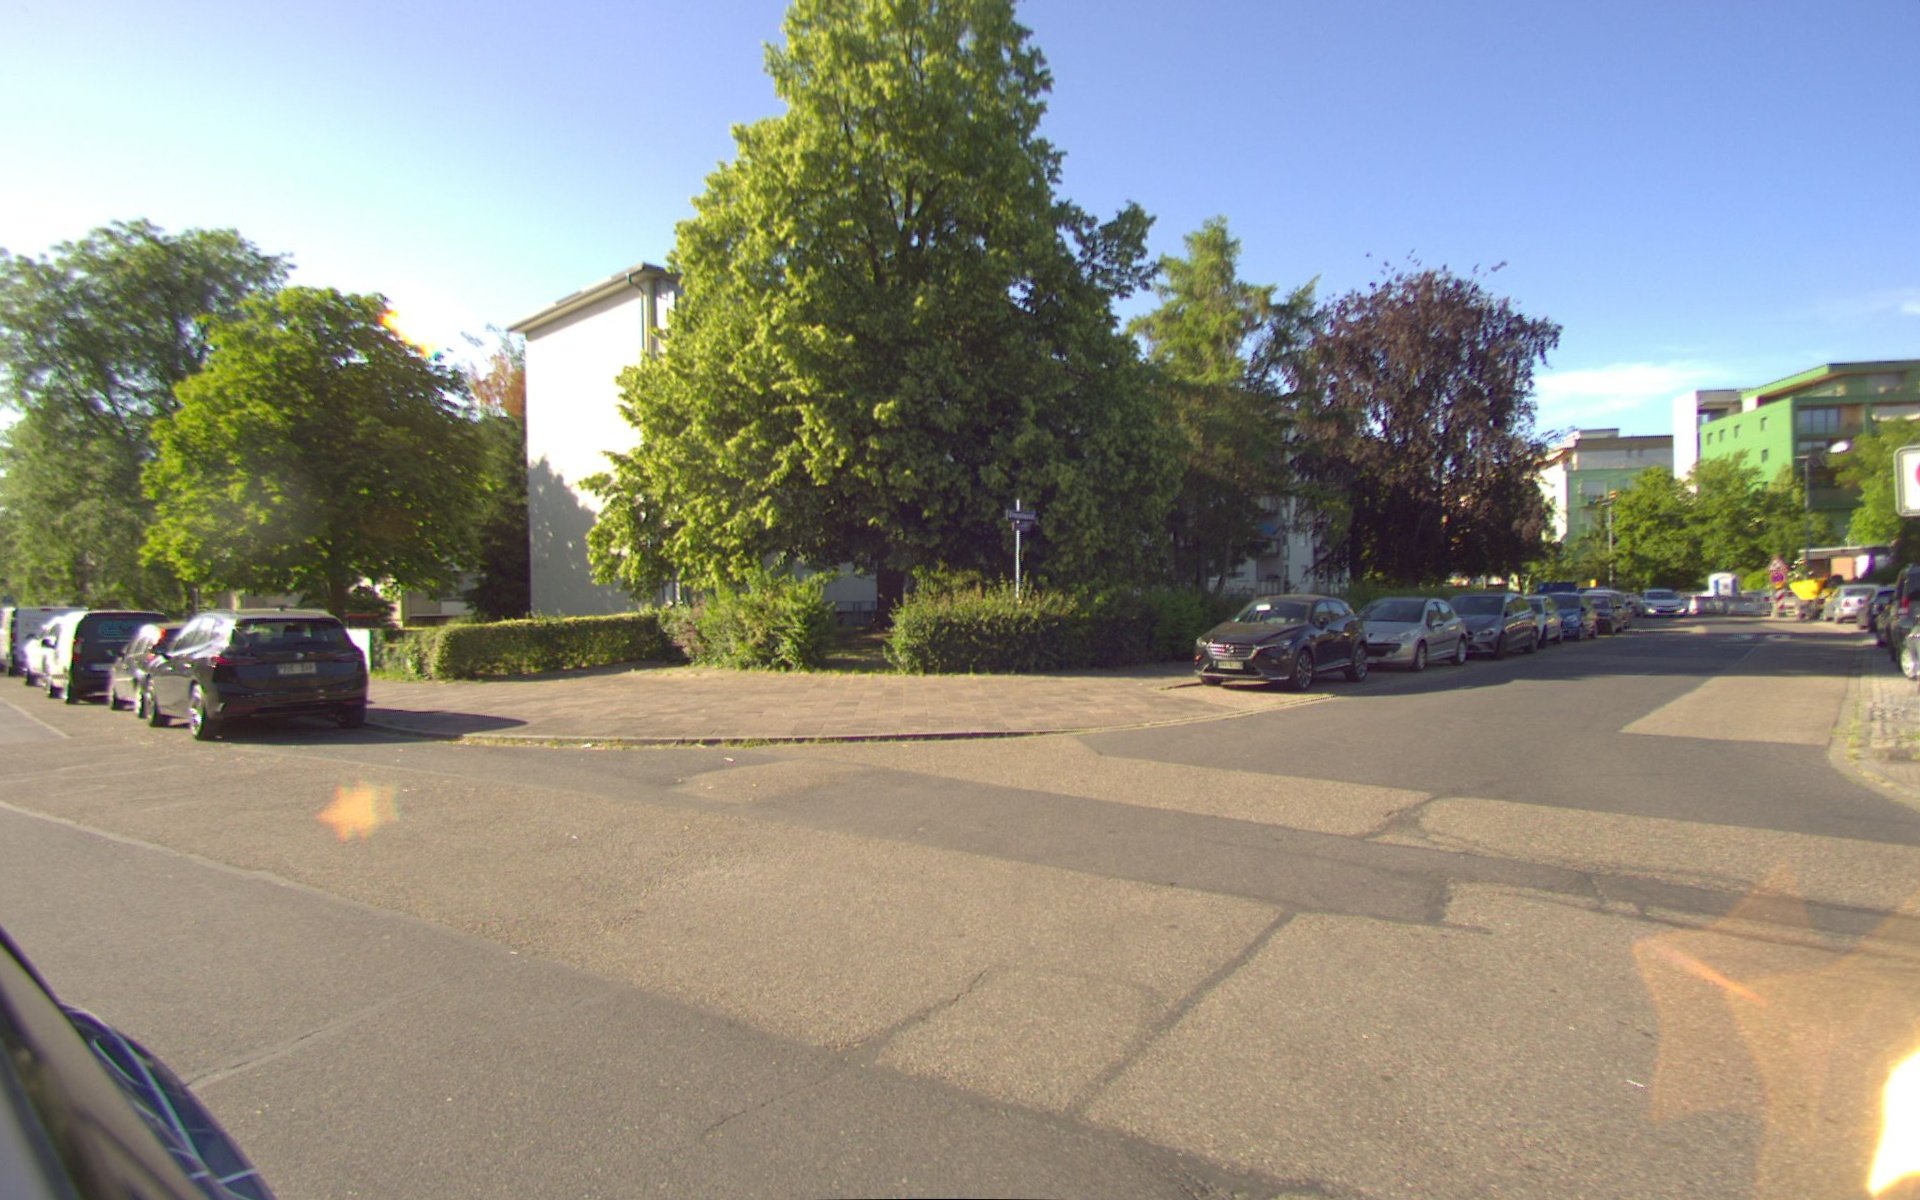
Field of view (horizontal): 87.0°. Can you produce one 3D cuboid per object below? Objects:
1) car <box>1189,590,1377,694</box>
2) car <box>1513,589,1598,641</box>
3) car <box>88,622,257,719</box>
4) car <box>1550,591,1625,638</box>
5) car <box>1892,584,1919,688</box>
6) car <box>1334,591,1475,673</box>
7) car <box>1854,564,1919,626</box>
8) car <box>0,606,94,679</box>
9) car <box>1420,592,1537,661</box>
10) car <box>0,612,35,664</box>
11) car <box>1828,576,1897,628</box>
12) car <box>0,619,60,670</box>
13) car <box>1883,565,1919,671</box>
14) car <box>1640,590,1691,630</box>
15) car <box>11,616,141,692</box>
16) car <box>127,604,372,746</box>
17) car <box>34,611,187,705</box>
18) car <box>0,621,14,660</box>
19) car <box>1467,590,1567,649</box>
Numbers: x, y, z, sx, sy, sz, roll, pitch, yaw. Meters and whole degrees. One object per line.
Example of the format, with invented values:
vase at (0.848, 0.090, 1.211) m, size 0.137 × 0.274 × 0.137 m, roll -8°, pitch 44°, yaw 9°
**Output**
car at (5.589, 0.649, 17.246) m, size 1.745 × 1.554 × 3.875 m, roll -1°, pitch -1°, yaw 39°
car at (19.129, 0.463, 32.415) m, size 1.745 × 1.554 × 4.046 m, roll -1°, pitch -1°, yaw 39°
car at (-13.232, 1.116, 16.939) m, size 3.653 × 1.448 × 1.606 m, roll -2°, pitch -3°, yaw 42°
car at (22.312, 0.500, 35.937) m, size 1.745 × 1.554 × 4.046 m, roll -1°, pitch -1°, yaw 39°
car at (15.146, 0.479, 14.911) m, size 1.736 × 1.473 × 4.287 m, roll -4°, pitch -3°, yaw 39°
car at (9.418, 0.635, 21.312) m, size 1.745 × 1.554 × 3.875 m, roll -1°, pitch -1°, yaw 39°
car at (30.156, -0.156, 32.643) m, size 1.736 × 1.869 × 4.287 m, roll -3°, pitch -2°, yaw 39°
car at (-26.893, 1.224, 29.569) m, size 4.510 × 1.956 × 1.884 m, roll -2°, pitch -3°, yaw 43°
car at (12.821, 0.612, 24.909) m, size 1.745 × 1.554 × 4.046 m, roll -1°, pitch -1°, yaw 39°
car at (-38.147, 1.496, 40.152) m, size 3.811 × 1.968 × 1.709 m, roll -2°, pitch -3°, yaw 42°
car at (34.771, 0.091, 39.093) m, size 1.736 × 1.869 × 4.287 m, roll -3°, pitch -2°, yaw 39°
car at (-31.772, 1.495, 34.221) m, size 3.814 × 1.652 × 1.708 m, roll -2°, pitch -3°, yaw 45°
car at (18.804, 0.296, 19.074) m, size 1.736 × 1.869 × 4.287 m, roll -4°, pitch -3°, yaw 39°
car at (37.457, 0.506, 53.710) m, size 1.997 × 2.029 × 3.949 m, roll -2°, pitch 0°, yaw 38°
car at (-21.133, 1.254, 24.146) m, size 4.167 × 1.652 × 1.710 m, roll -2°, pitch -3°, yaw 40°
car at (-9.630, 0.904, 13.574) m, size 4.422 × 1.586 × 1.761 m, roll -2°, pitch -1°, yaw 42°
car at (-16.979, 1.119, 20.172) m, size 3.647 × 1.695 × 1.794 m, roll -2°, pitch -4°, yaw 42°
car at (-42.443, 1.761, 43.993) m, size 3.555 × 1.641 × 1.611 m, roll -2°, pitch -3°, yaw 42°
car at (15.765, 0.534, 28.550) m, size 1.745 × 1.554 × 4.046 m, roll -1°, pitch -1°, yaw 39°
